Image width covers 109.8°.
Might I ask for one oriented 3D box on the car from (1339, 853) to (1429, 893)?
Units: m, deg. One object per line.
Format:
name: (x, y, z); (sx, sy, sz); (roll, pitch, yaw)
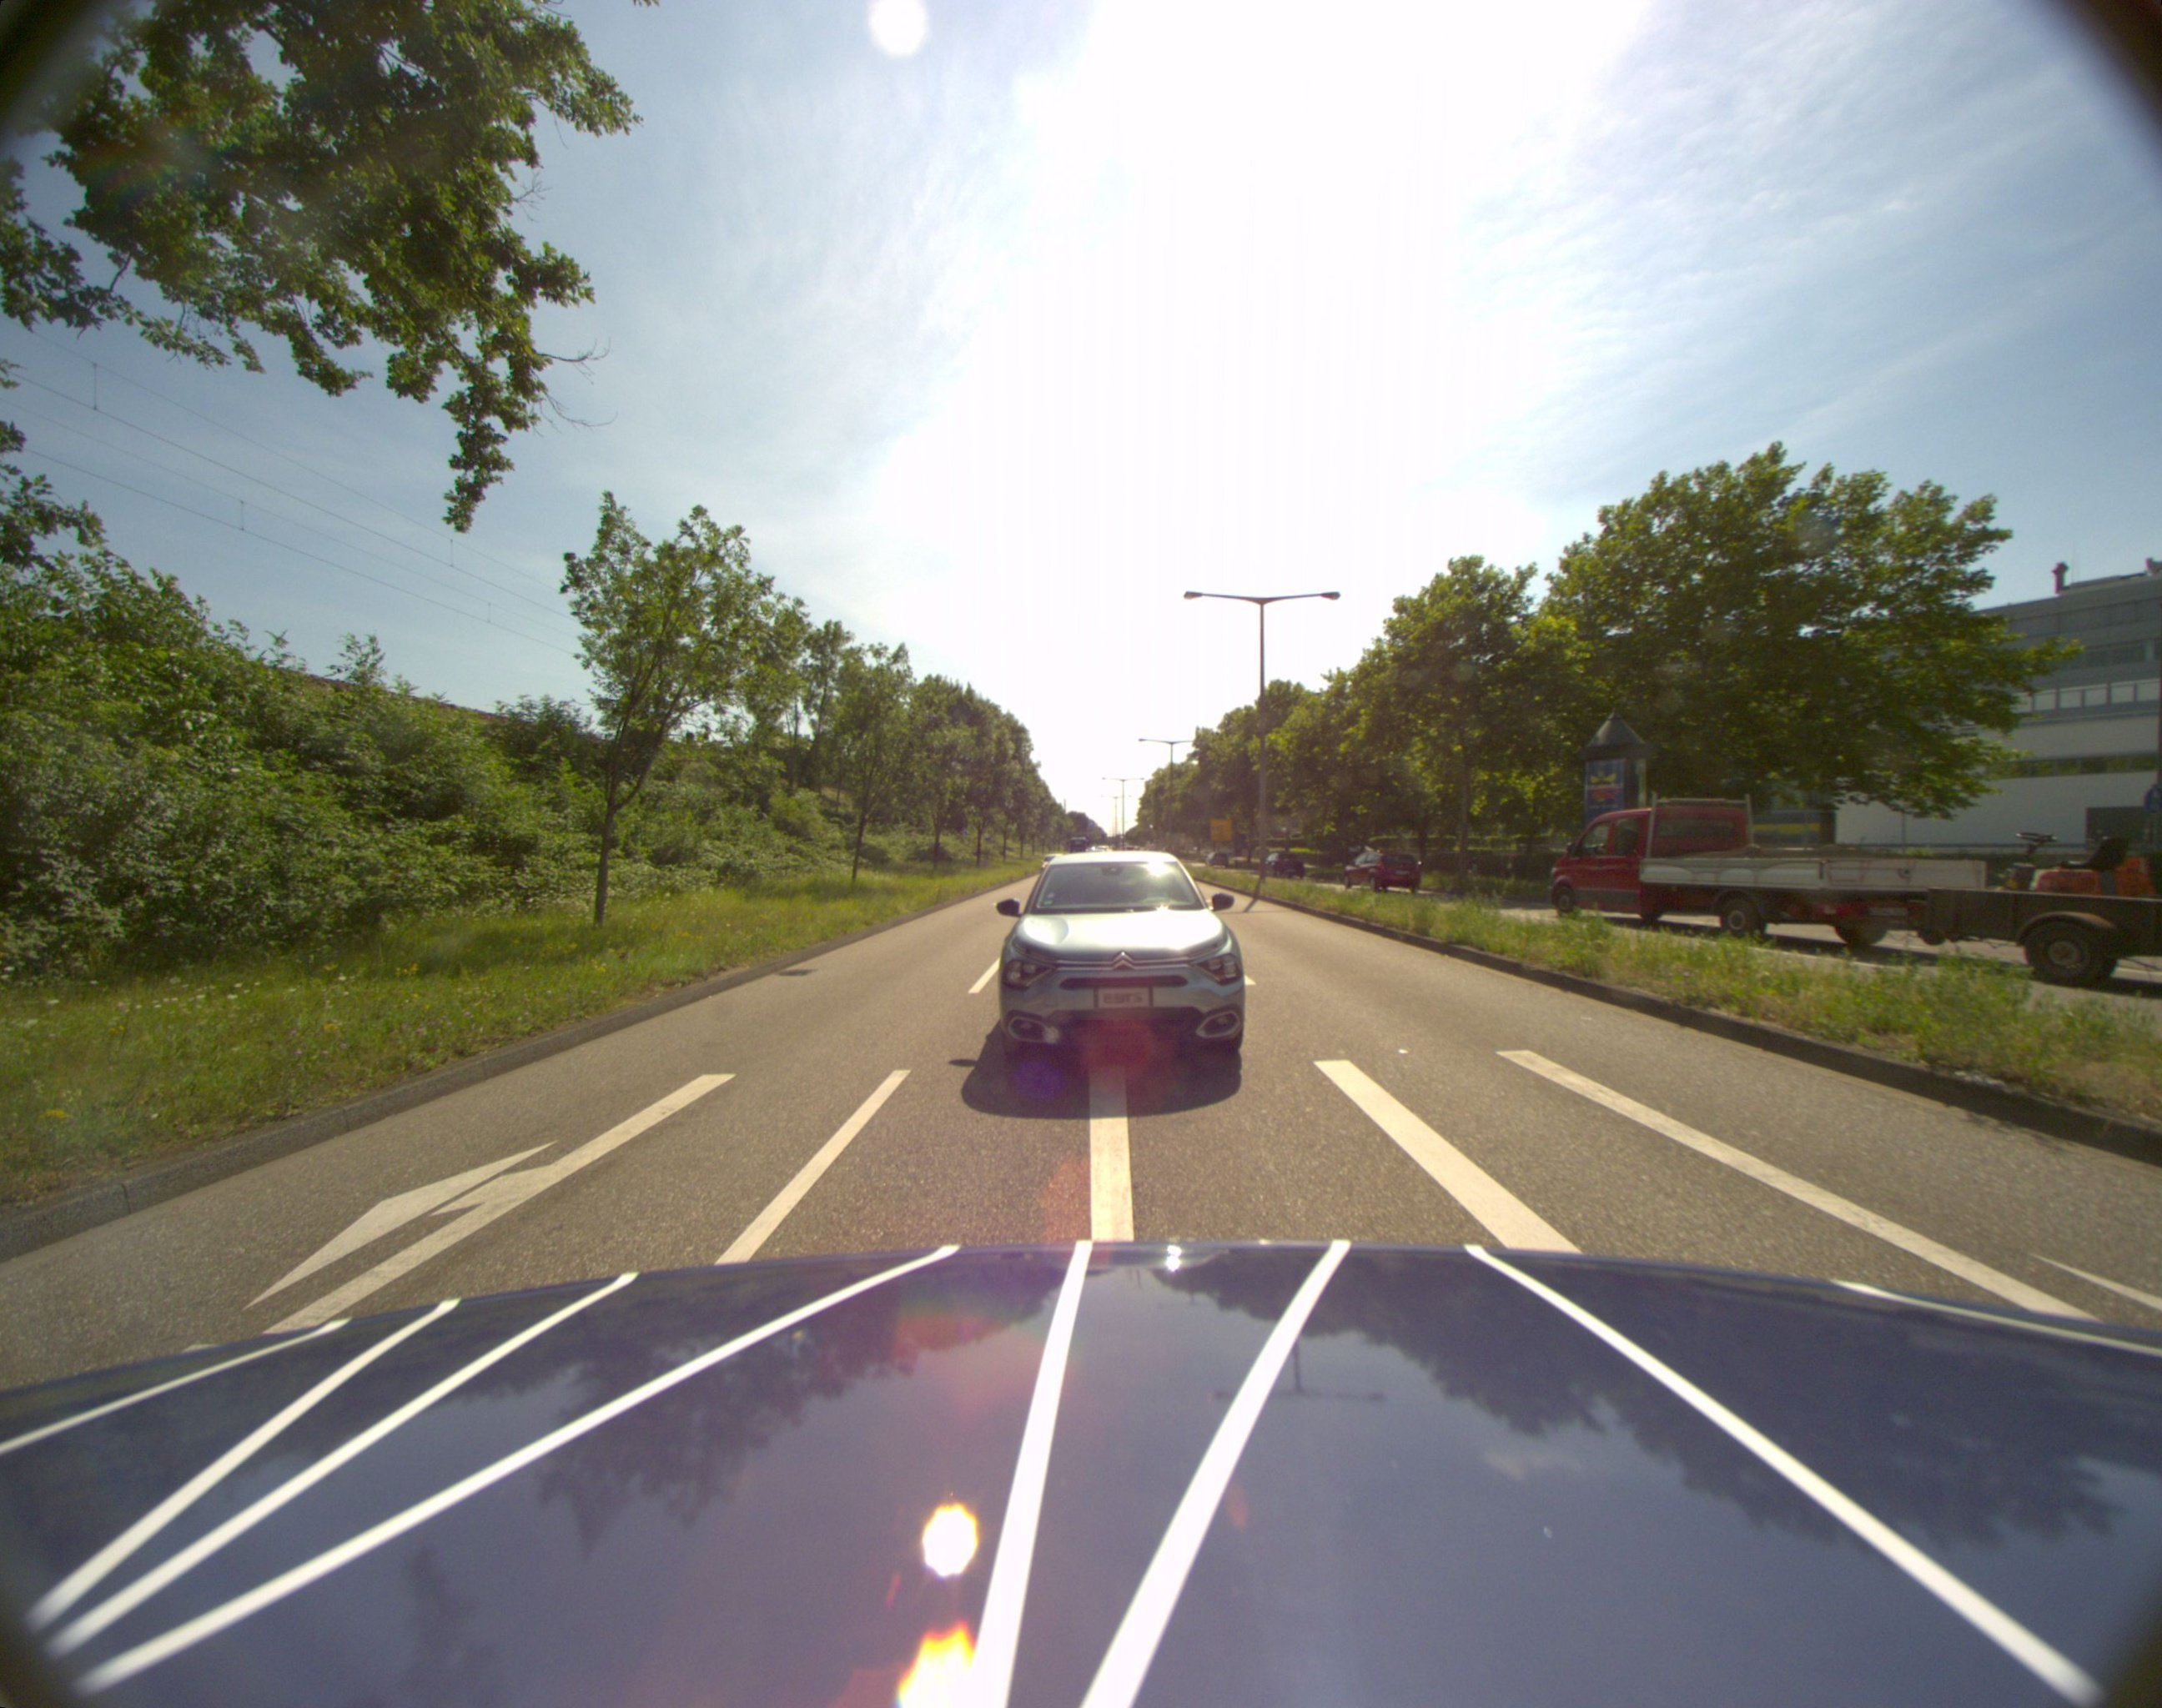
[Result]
car: (11.434, 0.693, 28.949); (1.853, 1.426, 3.766); (0, 0, -2)

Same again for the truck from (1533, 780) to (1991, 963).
truck: (11.333, 0.214, 13.855); (2.144, 2.461, 7.129); (-1, 1, 2)

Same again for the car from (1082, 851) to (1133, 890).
car: (1.084, 0.656, 32.105); (1.998, 1.492, 4.000); (-1, 0, 1)

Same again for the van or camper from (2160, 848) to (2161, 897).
van or camper: (39.492, 0.649, 25.020); (2.004, 1.682, 4.500); (-1, 1, -37)

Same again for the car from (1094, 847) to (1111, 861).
car: (2.367, -0.003, 84.644); (1.826, 1.521, 4.547); (-1, 0, 2)

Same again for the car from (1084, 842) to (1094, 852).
car: (1.719, -1.357, 156.270); (1.998, 2.002, 4.000); (-1, 1, 1)

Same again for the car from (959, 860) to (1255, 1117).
car: (0.245, 0.862, 7.106); (1.826, 1.521, 4.752); (-1, 0, 2)

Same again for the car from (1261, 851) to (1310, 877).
car: (11.978, 0.538, 44.796); (1.844, 1.414, 3.894); (0, 1, 0)

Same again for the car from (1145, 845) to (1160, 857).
car: (11.707, -0.528, 124.600); (1.998, 2.002, 4.000); (-1, 1, 1)

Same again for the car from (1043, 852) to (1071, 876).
car: (-1.624, 0.650, 50.639); (1.705, 1.429, 3.677); (-2, 1, -2)

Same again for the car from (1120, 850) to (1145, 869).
car: (3.945, 0.380, 58.654); (1.730, 1.354, 4.067); (-2, 1, 1)

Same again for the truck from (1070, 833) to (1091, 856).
truck: (-0.004, -1.323, 109.382); (2.775, 3.248, 7.482); (0, 1, 1)

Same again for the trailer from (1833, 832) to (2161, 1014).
trailer: (11.173, 0.626, 8.272); (2.067, 1.706, 3.991); (-1, 1, 2)

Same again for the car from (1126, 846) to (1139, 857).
car: (9.165, -0.439, 135.578); (1.998, 2.002, 4.000); (-1, 1, 1)

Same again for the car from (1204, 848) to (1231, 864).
car: (12.882, 0.170, 71.867); (1.844, 1.414, 4.221); (1, 0, 0)
